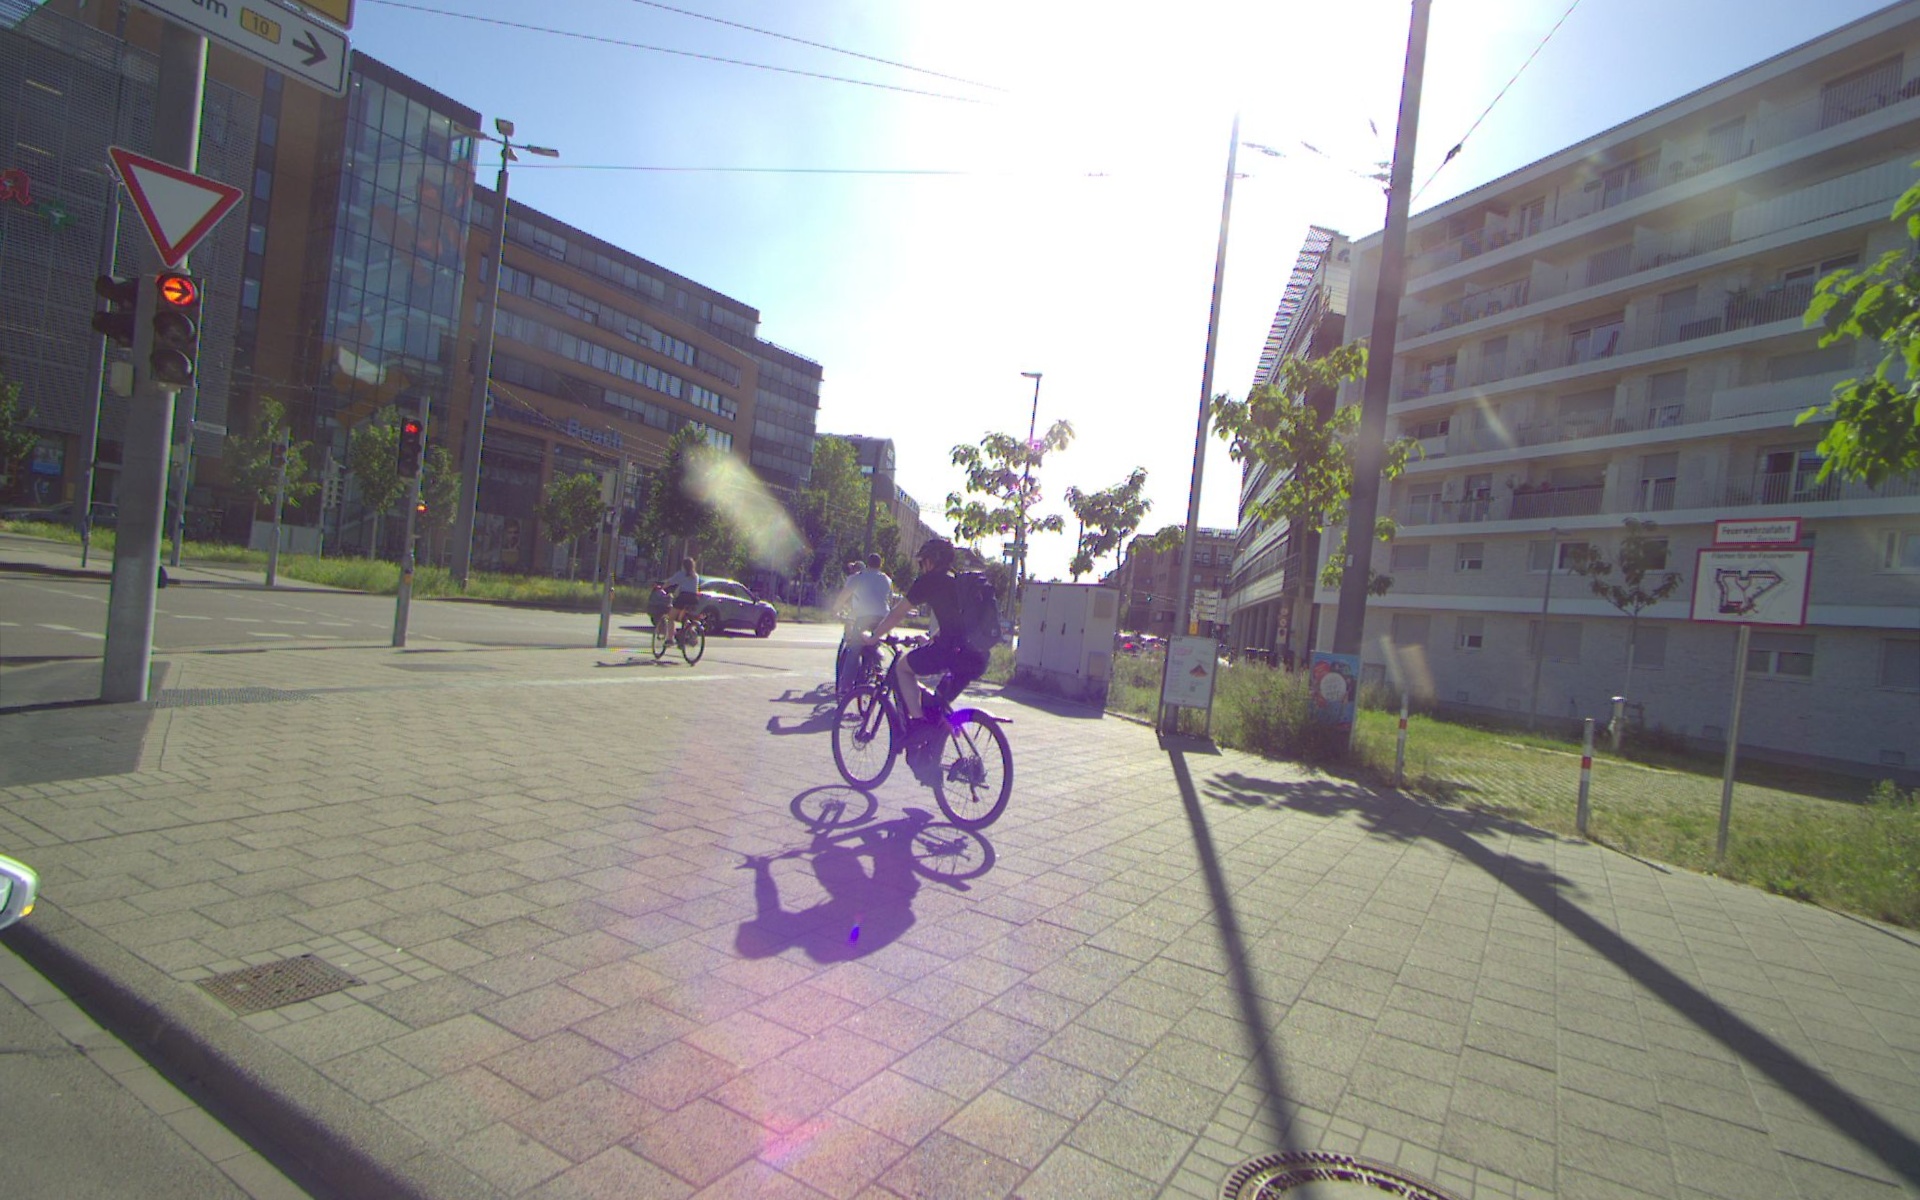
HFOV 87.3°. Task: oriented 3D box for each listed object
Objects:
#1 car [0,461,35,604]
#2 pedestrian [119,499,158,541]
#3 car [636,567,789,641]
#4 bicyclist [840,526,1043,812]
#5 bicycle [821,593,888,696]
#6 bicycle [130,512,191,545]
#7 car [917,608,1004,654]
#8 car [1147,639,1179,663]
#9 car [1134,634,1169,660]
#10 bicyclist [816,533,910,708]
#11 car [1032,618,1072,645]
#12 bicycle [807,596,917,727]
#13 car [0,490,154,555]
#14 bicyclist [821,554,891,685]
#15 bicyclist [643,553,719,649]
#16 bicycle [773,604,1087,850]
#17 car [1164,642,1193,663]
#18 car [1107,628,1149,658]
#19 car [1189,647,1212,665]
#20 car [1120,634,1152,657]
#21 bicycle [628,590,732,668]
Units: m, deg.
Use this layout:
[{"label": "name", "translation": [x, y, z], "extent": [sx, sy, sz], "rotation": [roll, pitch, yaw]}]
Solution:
[{"label": "car", "translation": [-13.823, -1.092, 11.428], "extent": [1.678, 1.813, 4.472], "rotation": [7, -1, 24]}, {"label": "pedestrian", "translation": [-39.639, -3.843, 48.543], "extent": [1.016, 1.852, 1.015], "rotation": [7, 2, 22]}, {"label": "car", "translation": [-6.763, 0.172, 27.985], "extent": [1.678, 1.531, 4.278], "rotation": [7, -2, 25]}, {"label": "bicyclist", "translation": [-0.128, 0.407, 6.404], "extent": [0.958, 1.649, 0.628], "rotation": [7, 0, 44]}, {"label": "bicycle", "translation": [-1.567, 0.612, 14.641], "extent": [0.704, 1.344, 1.745], "rotation": [6, 0, -11]}, {"label": "bicycle", "translation": [-40.521, -3.611, 51.035], "extent": [0.595, 1.310, 2.260], "rotation": [7, -2, 30]}, {"label": "car", "translation": [0.105, 1.358, 42.393], "extent": [1.800, 1.479, 4.684], "rotation": [7, -1, 23]}, {"label": "car", "translation": [15.603, 3.925, 77.061], "extent": [1.677, 1.515, 4.281], "rotation": [7, -2, 19]}, {"label": "car", "translation": [13.531, 3.336, 71.020], "extent": [1.677, 1.515, 4.281], "rotation": [7, -2, 19]}, {"label": "bicyclist", "translation": [-1.130, 0.238, 11.644], "extent": [0.797, 1.888, 0.747], "rotation": [6, -1, -15]}, {"label": "car", "translation": [6.800, 2.330, 73.975], "extent": [1.901, 1.728, 4.686], "rotation": [7, 0, 16]}, {"label": "bicycle", "translation": [-1.192, 0.660, 11.741], "extent": [0.747, 1.316, 2.147], "rotation": [6, -1, -17]}, {"label": "car", "translation": [-32.071, -2.769, 36.329], "extent": [1.810, 1.484, 4.161], "rotation": [6, -5, 30]}, {"label": "bicyclist", "translation": [-1.506, 0.255, 14.448], "extent": [0.705, 1.748, 1.091], "rotation": [6, 2, -13]}, {"label": "bicyclist", "translation": [-4.496, 0.006, 16.202], "extent": [0.927, 1.453, 0.666], "rotation": [4, -1, 42]}, {"label": "bicycle", "translation": [-0.275, 0.738, 6.564], "extent": [2.126, 1.212, 0.634], "rotation": [6, 0, 44]}, {"label": "car", "translation": [18.434, 4.442, 84.749], "extent": [1.677, 1.515, 4.281], "rotation": [7, -2, 19]}, {"label": "car", "translation": [10.353, 2.662, 61.605], "extent": [1.675, 1.591, 4.874], "rotation": [7, -1, 18]}, {"label": "car", "translation": [24.979, 5.806, 104.385], "extent": [1.677, 1.515, 4.281], "rotation": [7, -2, 19]}, {"label": "car", "translation": [13.908, 3.628, 79.483], "extent": [1.677, 1.515, 4.281], "rotation": [7, -2, 19]}, {"label": "bicycle", "translation": [-4.529, 0.453, 16.196], "extent": [1.796, 1.084, 0.666], "rotation": [4, -2, 42]}]
